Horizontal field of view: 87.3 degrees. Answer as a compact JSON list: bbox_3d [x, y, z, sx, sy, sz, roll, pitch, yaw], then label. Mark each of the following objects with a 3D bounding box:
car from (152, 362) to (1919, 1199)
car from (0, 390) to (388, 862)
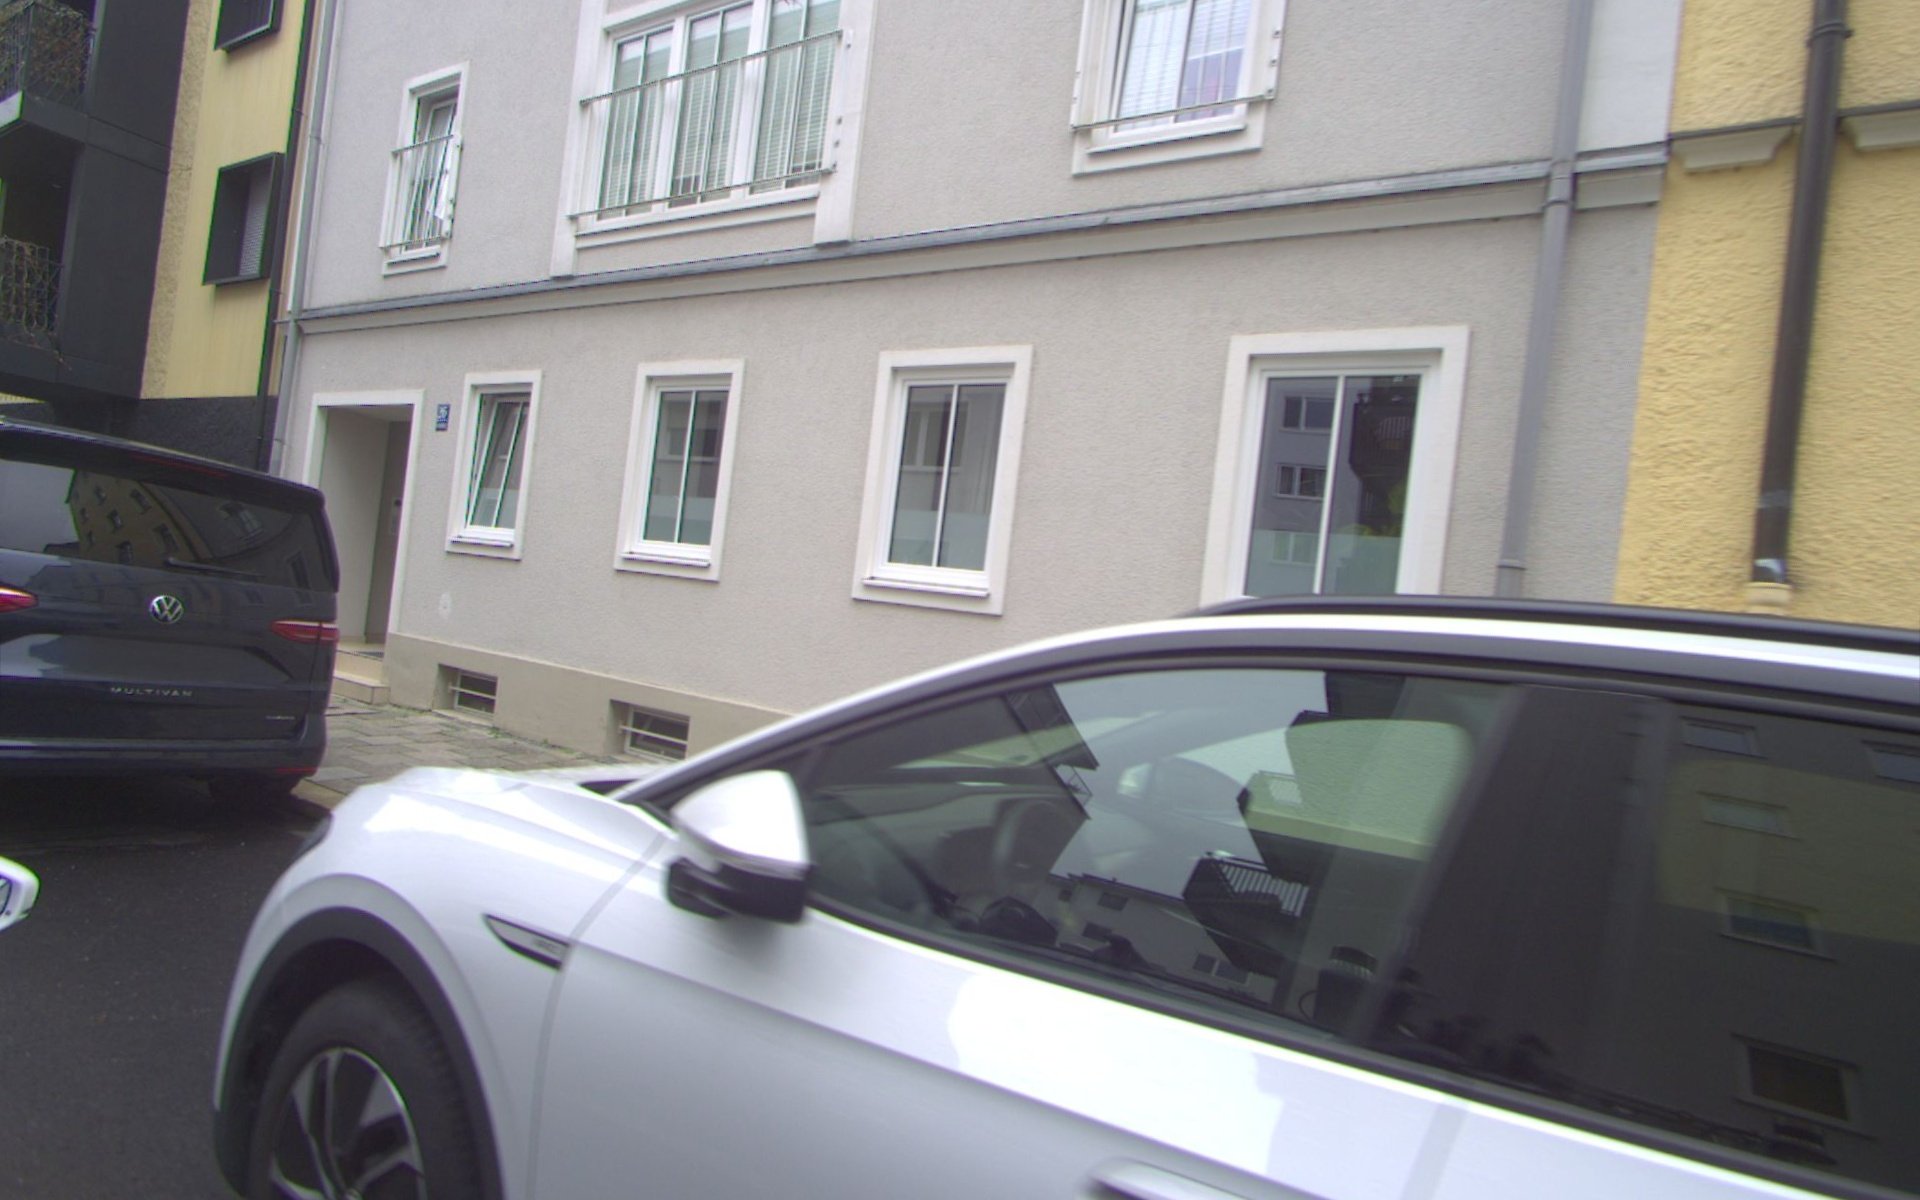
[{"bbox_3d":[0.629,0.676,1.694,4.344,1.584,1.686,7,-4,33],"label":"car"},{"bbox_3d":[-5.485,-0.022,5.743,4.343,1.931,1.833,7,-3,32],"label":"car"}]
